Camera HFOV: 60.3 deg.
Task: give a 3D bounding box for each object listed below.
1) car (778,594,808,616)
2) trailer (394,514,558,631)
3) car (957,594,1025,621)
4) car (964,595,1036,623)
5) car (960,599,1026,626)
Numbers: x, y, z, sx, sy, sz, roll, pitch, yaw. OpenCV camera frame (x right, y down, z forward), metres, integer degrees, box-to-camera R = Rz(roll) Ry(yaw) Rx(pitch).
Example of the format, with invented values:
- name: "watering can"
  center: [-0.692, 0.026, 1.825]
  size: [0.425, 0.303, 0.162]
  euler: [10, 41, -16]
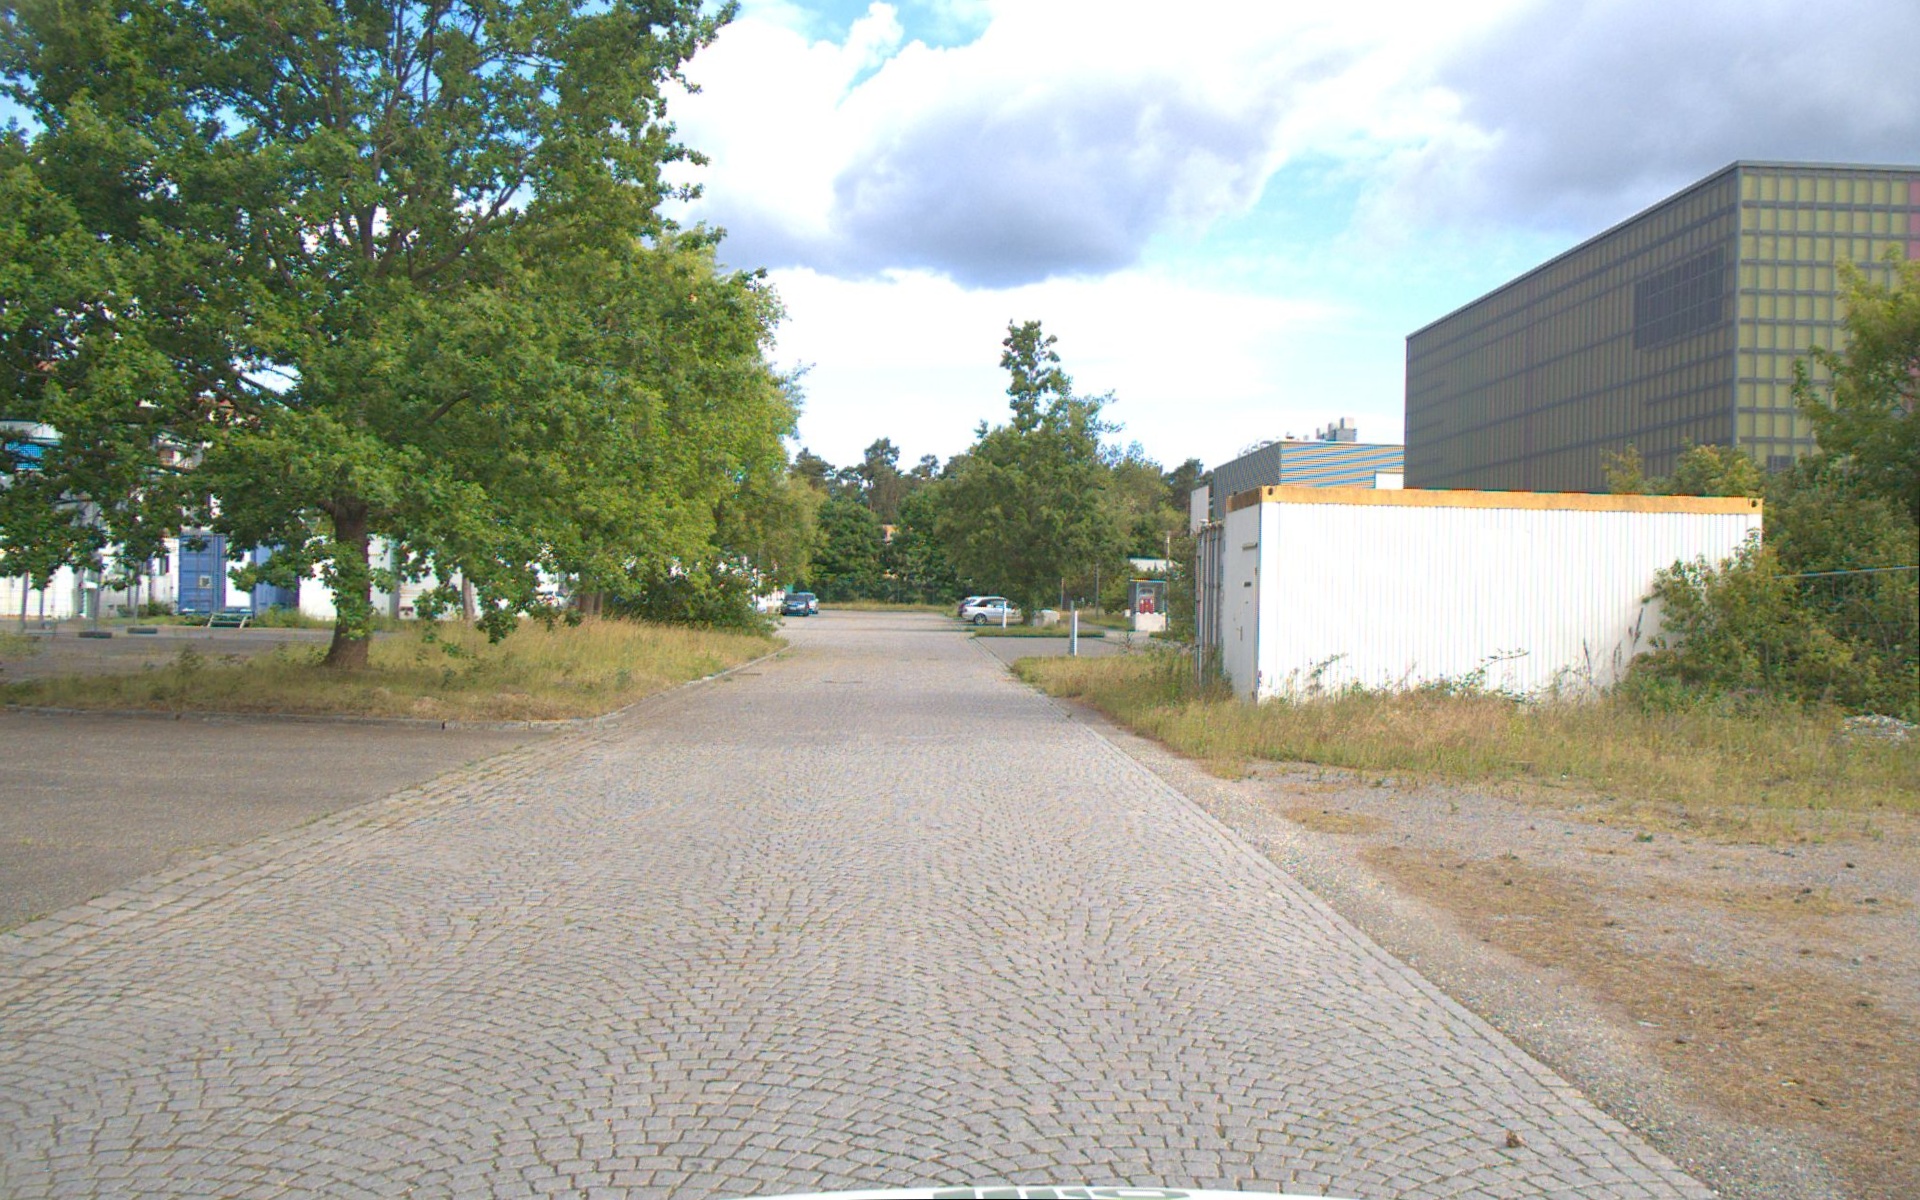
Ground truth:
- name: "car"
  center: [-11.054, 0.328, 109.693]
  size: [1.614, 1.393, 3.996]
  euler: [1, 0, -2]
- name: "trailer"
  center: [-16.626, -0.880, 57.669]
  size: [2.571, 3.661, 10.177]
  euler: [1, 0, 0]
- name: "car"
  center: [1.795, 0.423, 96.392]
  size: [3.904, 1.501, 1.653]
  euler: [-1, 0, -1]
- name: "car"
  center: [2.182, 0.498, 91.272]
  size: [3.904, 1.473, 1.653]
  euler: [-1, 0, -1]
- name: "car"
  center: [1.732, 0.655, 88.561]
  size: [3.451, 1.386, 1.622]
  euler: [-1, 0, -1]
